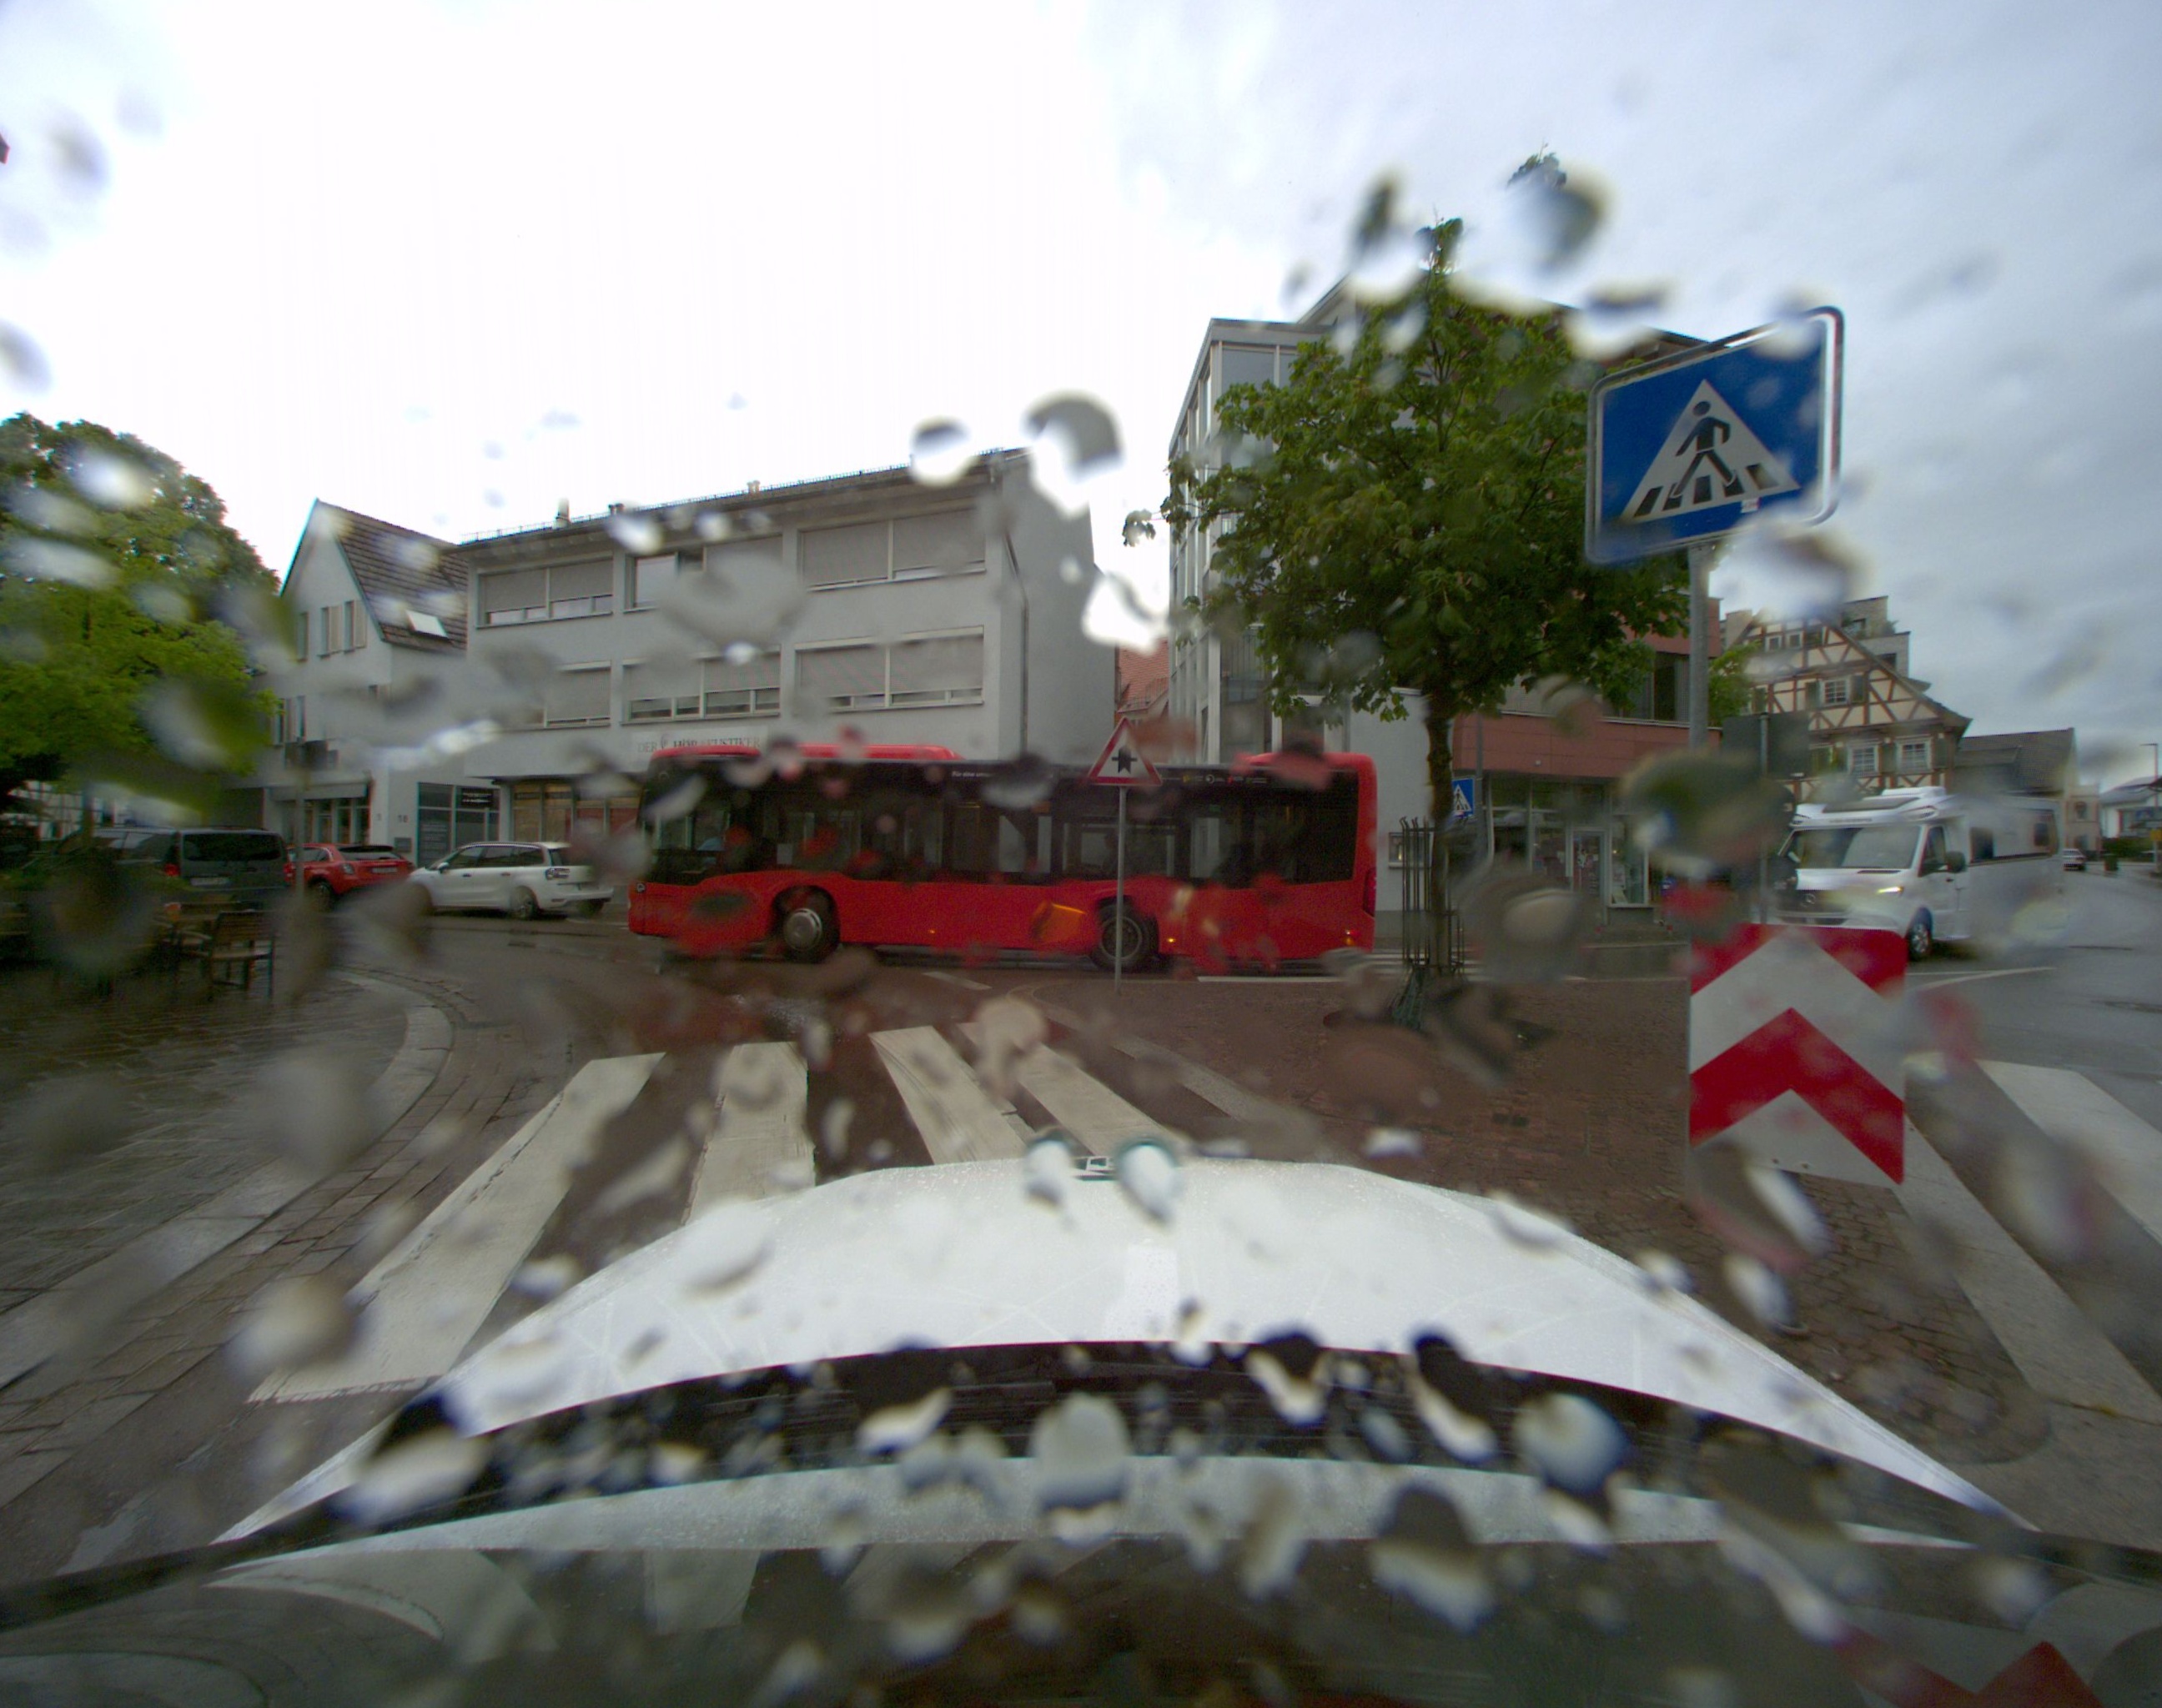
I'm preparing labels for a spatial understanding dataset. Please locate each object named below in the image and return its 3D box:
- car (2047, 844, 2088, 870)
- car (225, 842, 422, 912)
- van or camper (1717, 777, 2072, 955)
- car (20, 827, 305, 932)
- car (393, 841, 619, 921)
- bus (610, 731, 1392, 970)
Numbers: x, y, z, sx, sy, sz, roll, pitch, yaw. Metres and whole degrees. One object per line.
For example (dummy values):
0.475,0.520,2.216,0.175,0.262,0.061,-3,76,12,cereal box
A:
66.933,0.232,55.291,3.338,1.713,1.660,1,-1,-41,car
-17.916,0.485,19.304,3.758,1.528,1.690,1,1,16,car
14.544,0.179,14.467,6.763,2.585,2.425,0,0,-26,van or camper
-18.116,0.412,16.103,4.674,1.780,1.962,2,1,17,car
-12.669,0.540,18.010,4.183,1.612,1.699,1,0,13,car
-1.120,-0.072,12.271,10.525,3.088,2.825,0,0,4,bus
